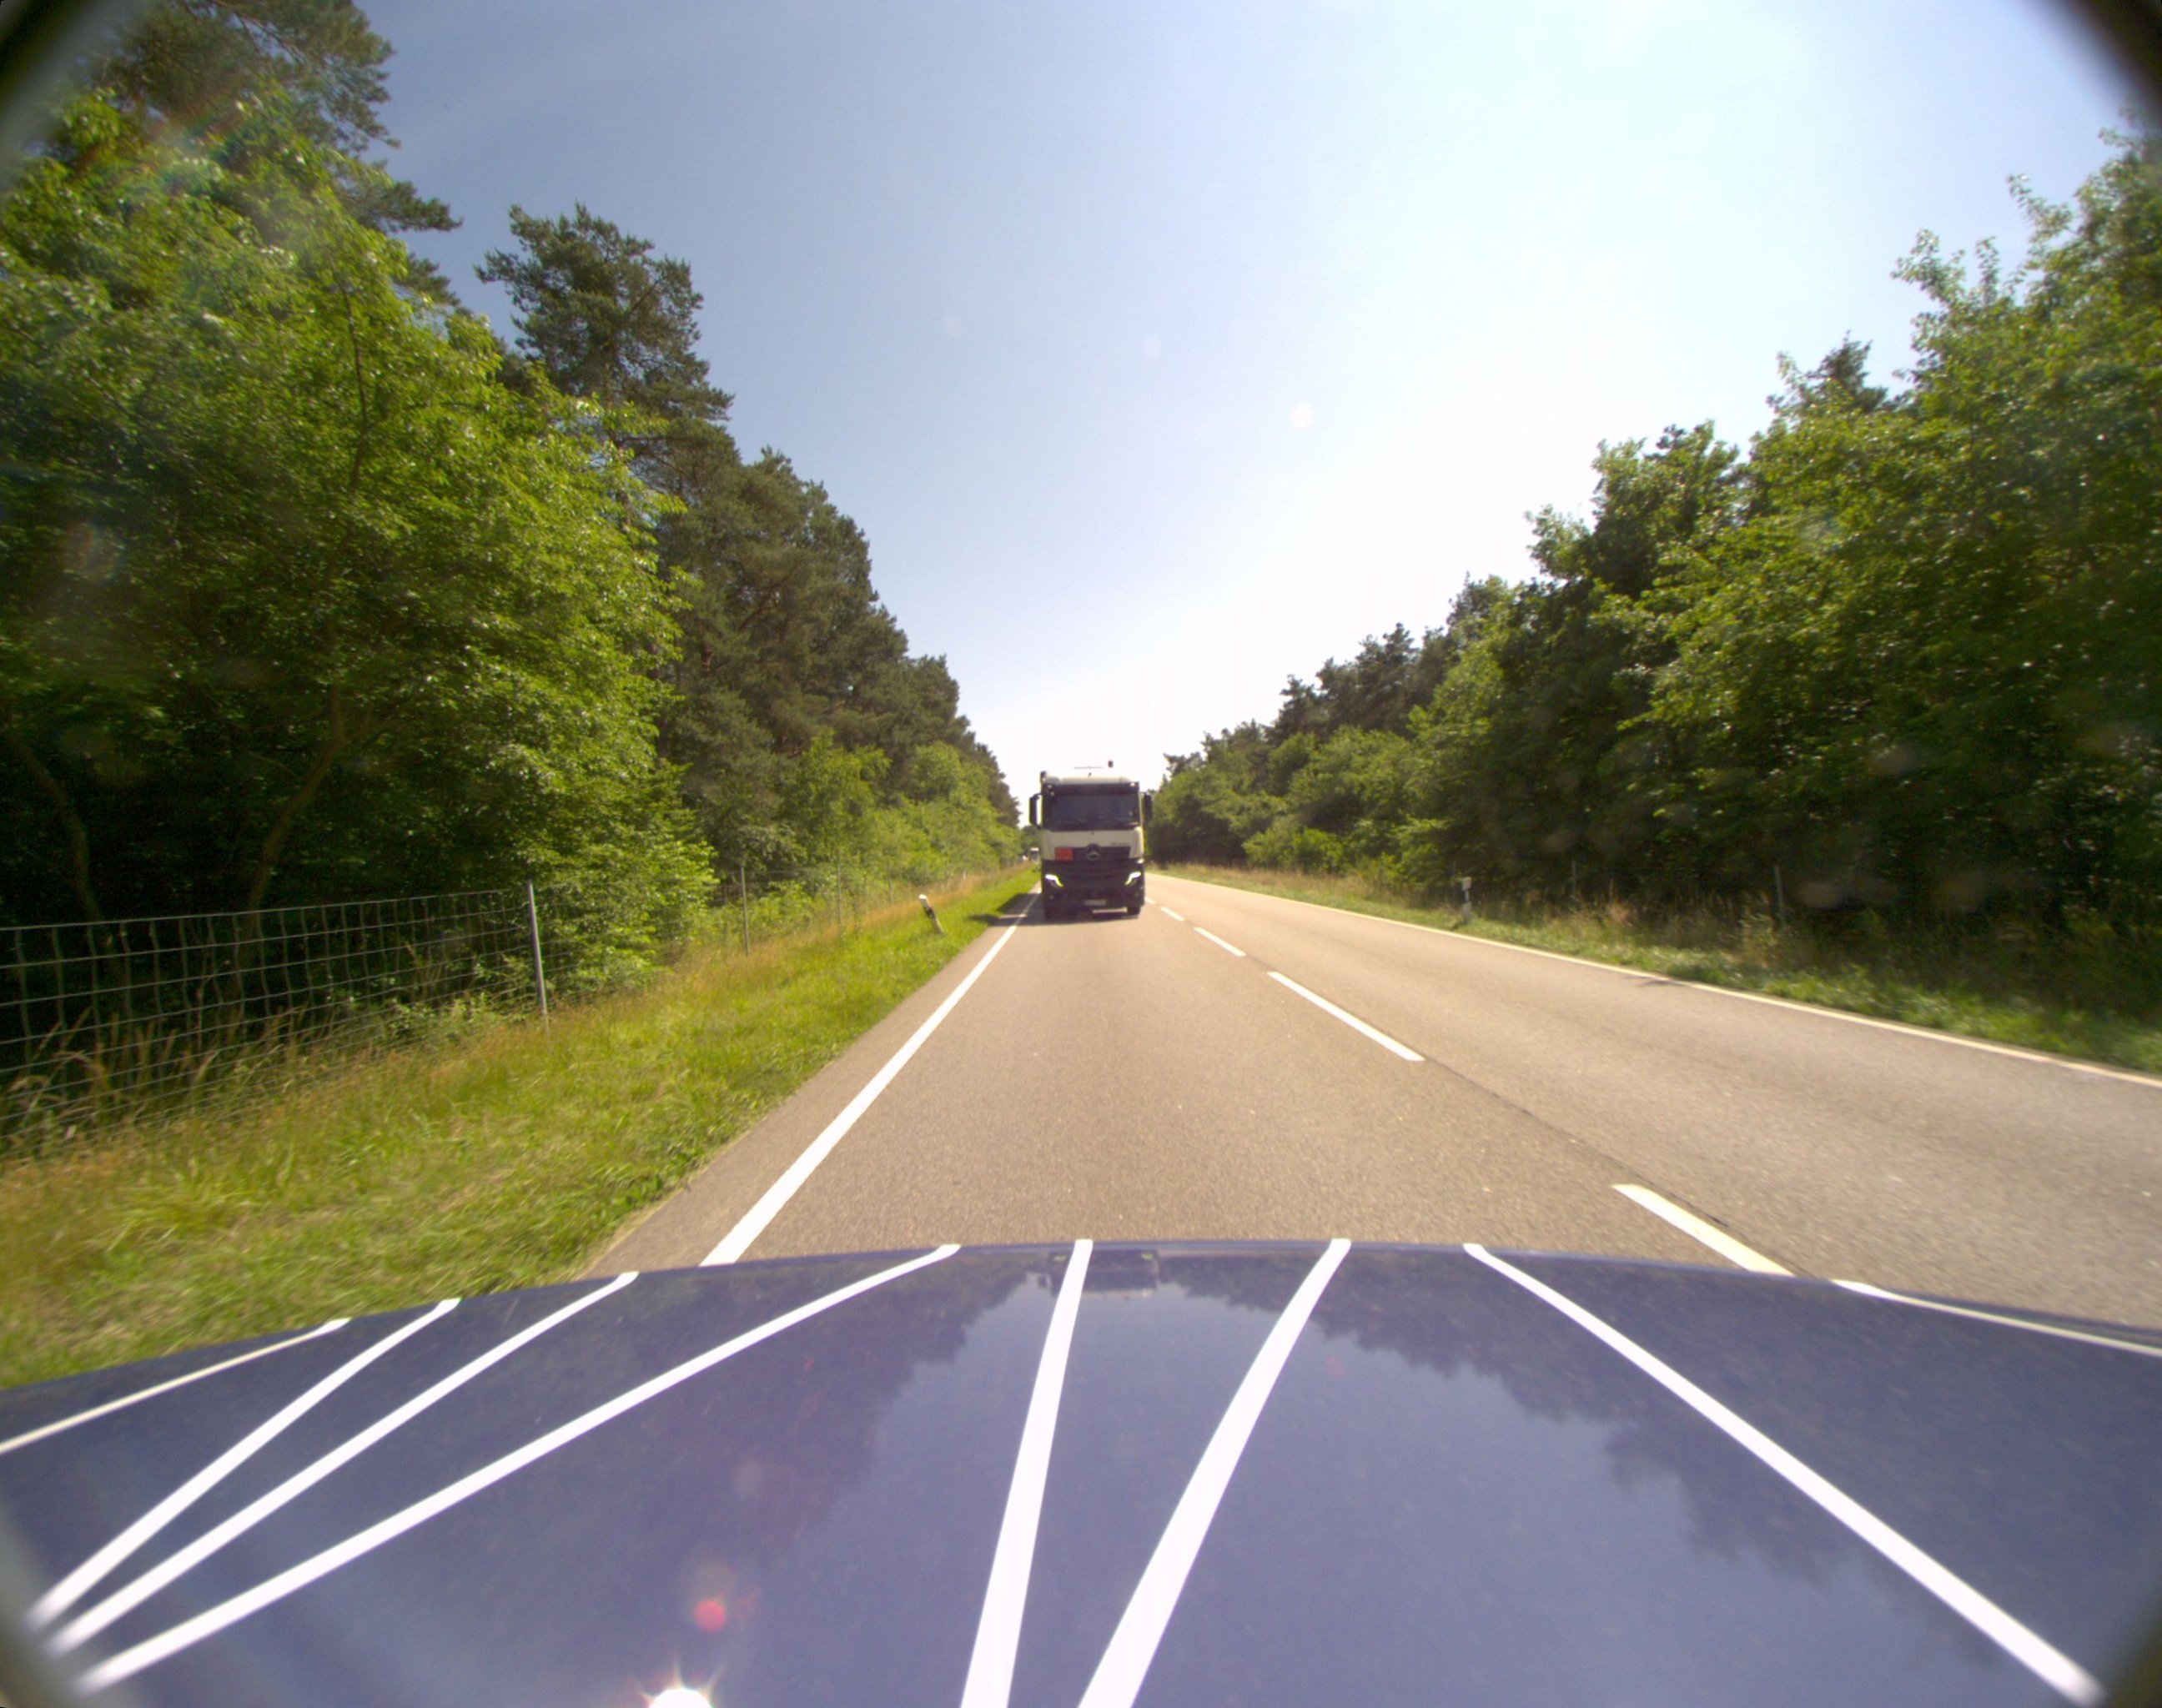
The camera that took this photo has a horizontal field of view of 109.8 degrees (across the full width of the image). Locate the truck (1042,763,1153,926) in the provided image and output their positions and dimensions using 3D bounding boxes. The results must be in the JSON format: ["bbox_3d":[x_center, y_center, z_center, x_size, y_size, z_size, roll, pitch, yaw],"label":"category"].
[{"bbox_3d":[0.291,-0.213,20.818,2.435,3.672,6.456,-2,0,-2],"label":"truck"}]

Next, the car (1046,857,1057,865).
[{"bbox_3d":[-5.351,1.268,138.287,1.885,1.462,3.999,0,0,-2],"label":"car"}]

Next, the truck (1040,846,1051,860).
[{"bbox_3d":[-9.130,-0.257,194.260,2.495,3.619,6.101,-1,0,-3],"label":"truck"}]

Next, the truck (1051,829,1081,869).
[{"bbox_3d":[-1.484,-0.462,72.720,2.495,3.698,6.222,1,0,-3],"label":"truck"}]

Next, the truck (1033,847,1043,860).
[{"bbox_3d":[-13.172,-0.160,233.592,2.495,3.619,6.099,-2,0,-7],"label":"truck"}]
